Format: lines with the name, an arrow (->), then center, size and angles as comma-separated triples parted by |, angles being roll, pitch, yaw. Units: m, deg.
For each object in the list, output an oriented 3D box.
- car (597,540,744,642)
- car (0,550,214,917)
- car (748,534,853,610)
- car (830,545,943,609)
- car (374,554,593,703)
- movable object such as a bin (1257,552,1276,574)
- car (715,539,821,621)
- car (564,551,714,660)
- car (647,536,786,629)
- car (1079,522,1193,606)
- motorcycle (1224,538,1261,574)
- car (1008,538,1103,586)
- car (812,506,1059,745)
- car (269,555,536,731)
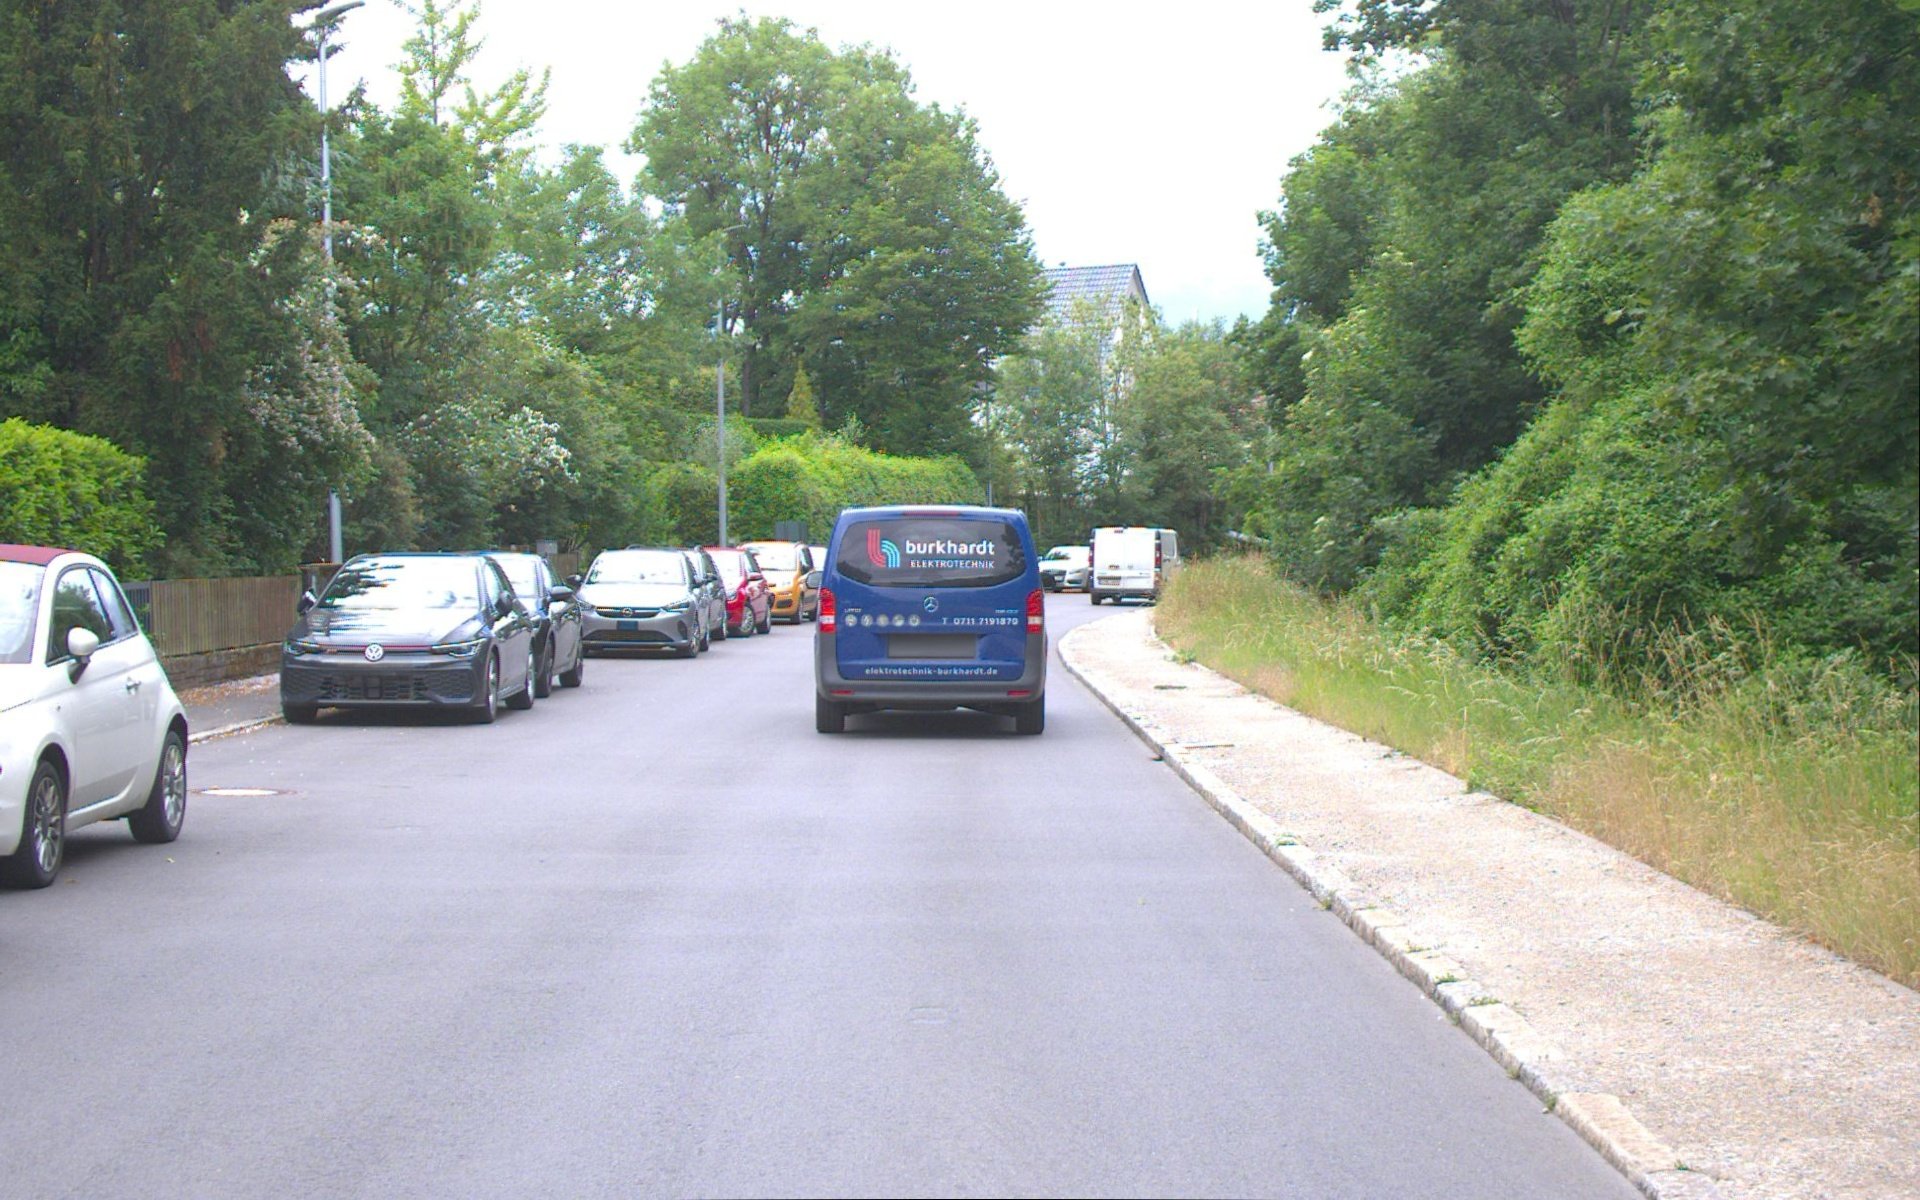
car -> -4.418, -0.174, 53.093 | 1.707, 1.509, 4.495 | 0, 1, 2
car -> -4.790, 0.524, 16.230 | 1.707, 1.506, 3.946 | 0, 1, -1
car -> -3.213, -0.588, 69.979 | 1.588, 1.509, 3.590 | 0, 1, 6
car -> -1.636, -0.538, 78.062 | 1.719, 1.380, 4.661 | 0, 1, 9
car -> -4.808, 0.250, 35.170 | 1.707, 1.411, 4.132 | 0, 1, -1
movable object such as a bin -> 12.926, -1.548, 145.050 | 0.591, 0.906, 0.699 | 1, 0, 24
car -> -3.631, -0.397, 65.361 | 1.544, 1.509, 3.643 | 0, 1, 4
car -> -4.349, 0.046, 47.080 | 1.707, 1.405, 4.161 | 0, 1, -1
car -> -4.056, -0.325, 57.792 | 1.707, 1.509, 4.363 | 0, 1, 4
car -> 4.548, -0.918, 87.840 | 2.207, 2.056, 6.132 | 0, 1, 10
motorcycle -> 11.783, -1.825, 143.224 | 0.810, 1.480, 2.893 | 1, 0, 20
car -> 2.877, -1.155, 102.832 | 1.832, 1.369, 4.442 | 1, 1, 15
car -> -0.253, 0.158, 29.279 | 1.936, 1.873, 4.531 | 0, 1, -2
car -> -4.799, 0.321, 30.098 | 1.707, 1.411, 4.150 | 0, 1, -1
